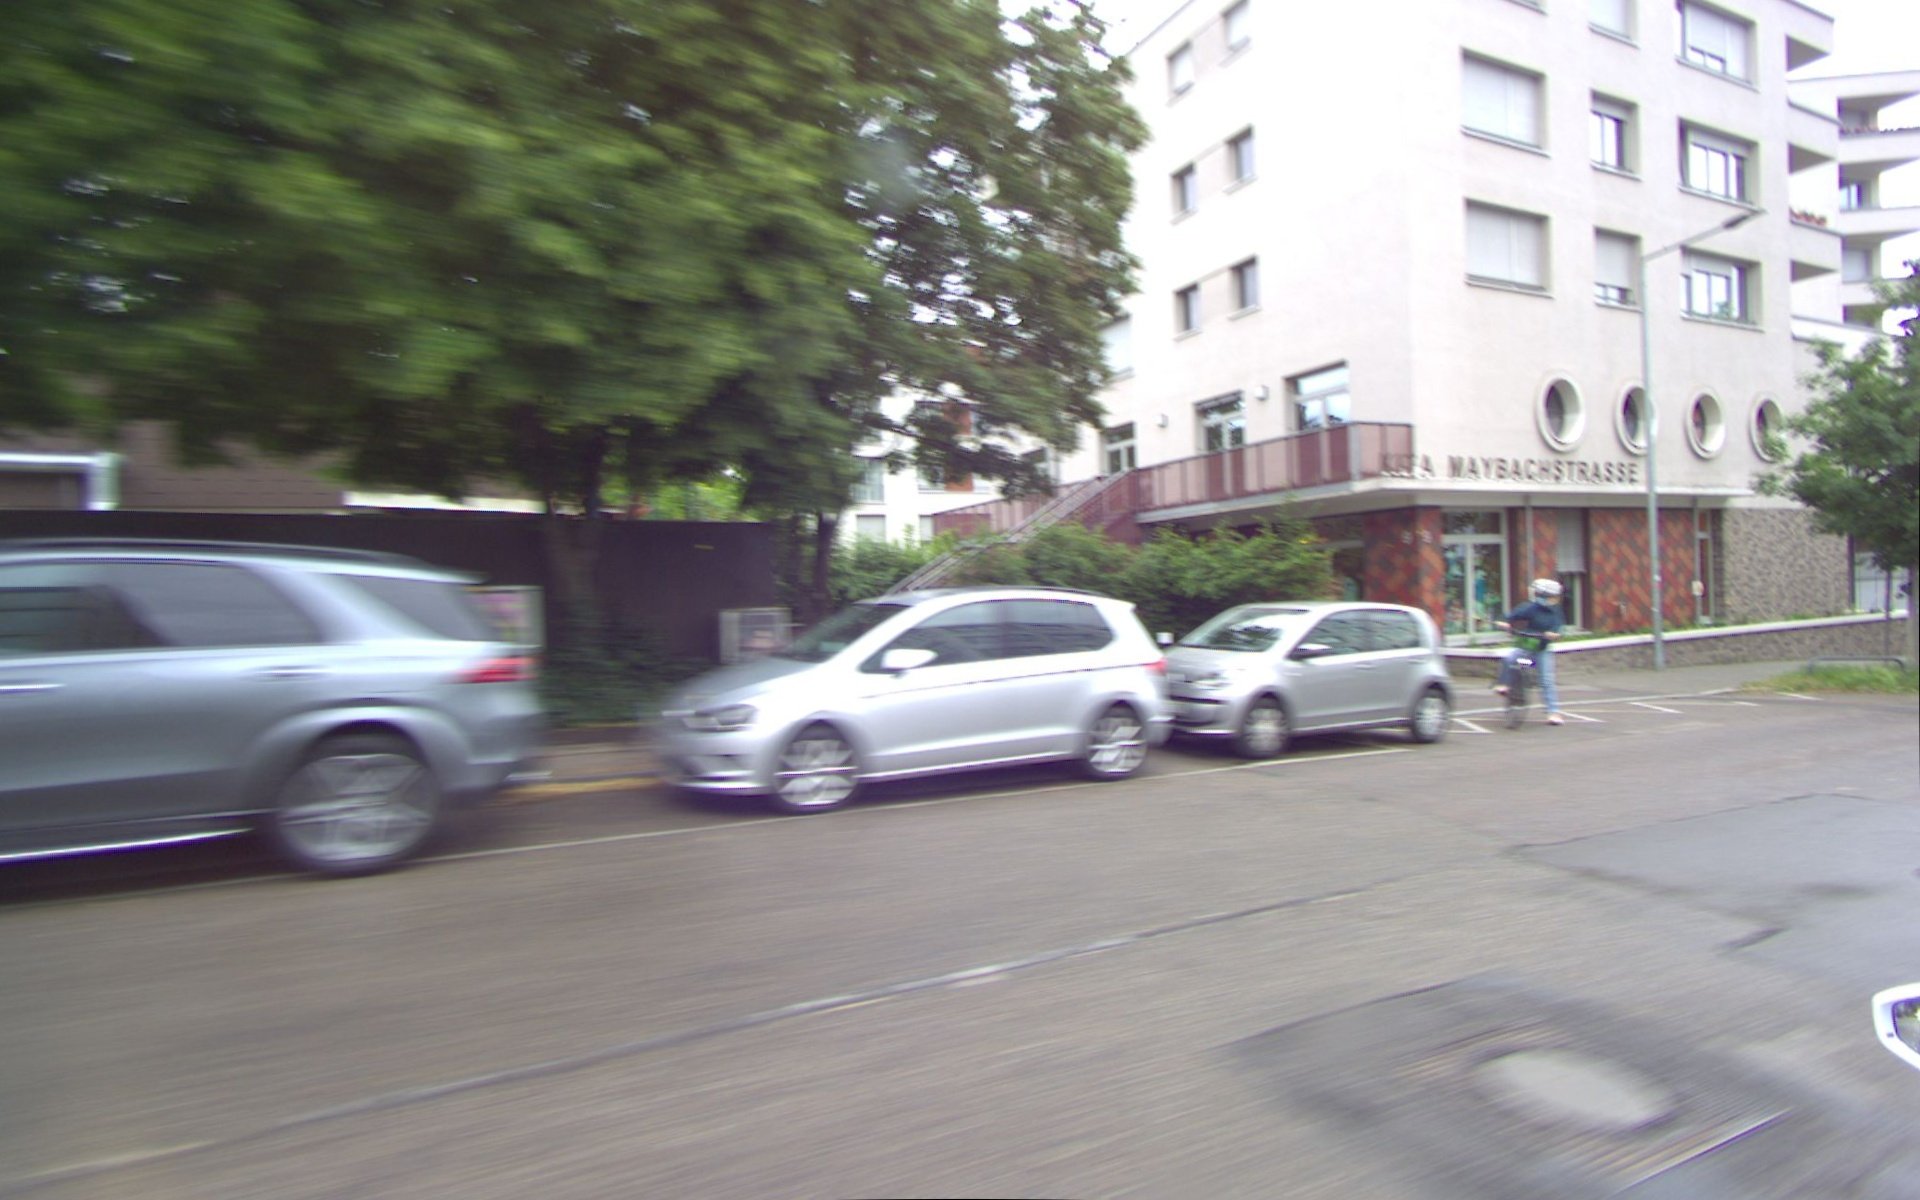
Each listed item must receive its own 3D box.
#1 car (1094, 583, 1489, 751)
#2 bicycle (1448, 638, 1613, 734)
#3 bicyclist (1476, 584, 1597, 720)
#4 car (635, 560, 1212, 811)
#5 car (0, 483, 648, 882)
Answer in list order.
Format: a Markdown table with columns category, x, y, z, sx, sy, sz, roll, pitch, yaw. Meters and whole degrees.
| category | x | y | z | sx | sy | sz | roll | pitch | yaw |
| --- | --- | --- | --- | --- | --- | --- | --- | --- | --- |
| car | 3.514 | 0.596 | 10.607 | 3.799 | 1.482 | 1.871 | 1 | 1 | -29 |
| bicycle | 6.863 | 0.990 | 12.044 | 2.231 | 0.992 | 0.797 | 1 | 1 | -34 |
| bicyclist | 6.931 | 0.587 | 12.075 | 1.189 | 1.543 | 0.796 | 0 | 1 | -34 |
| car | -0.249 | 0.560 | 8.432 | 4.435 | 1.614 | 1.981 | 1 | 1 | -29 |
| car | -4.651 | 0.361 | 5.516 | 5.343 | 1.810 | 1.985 | 1 | 1 | -28 |
